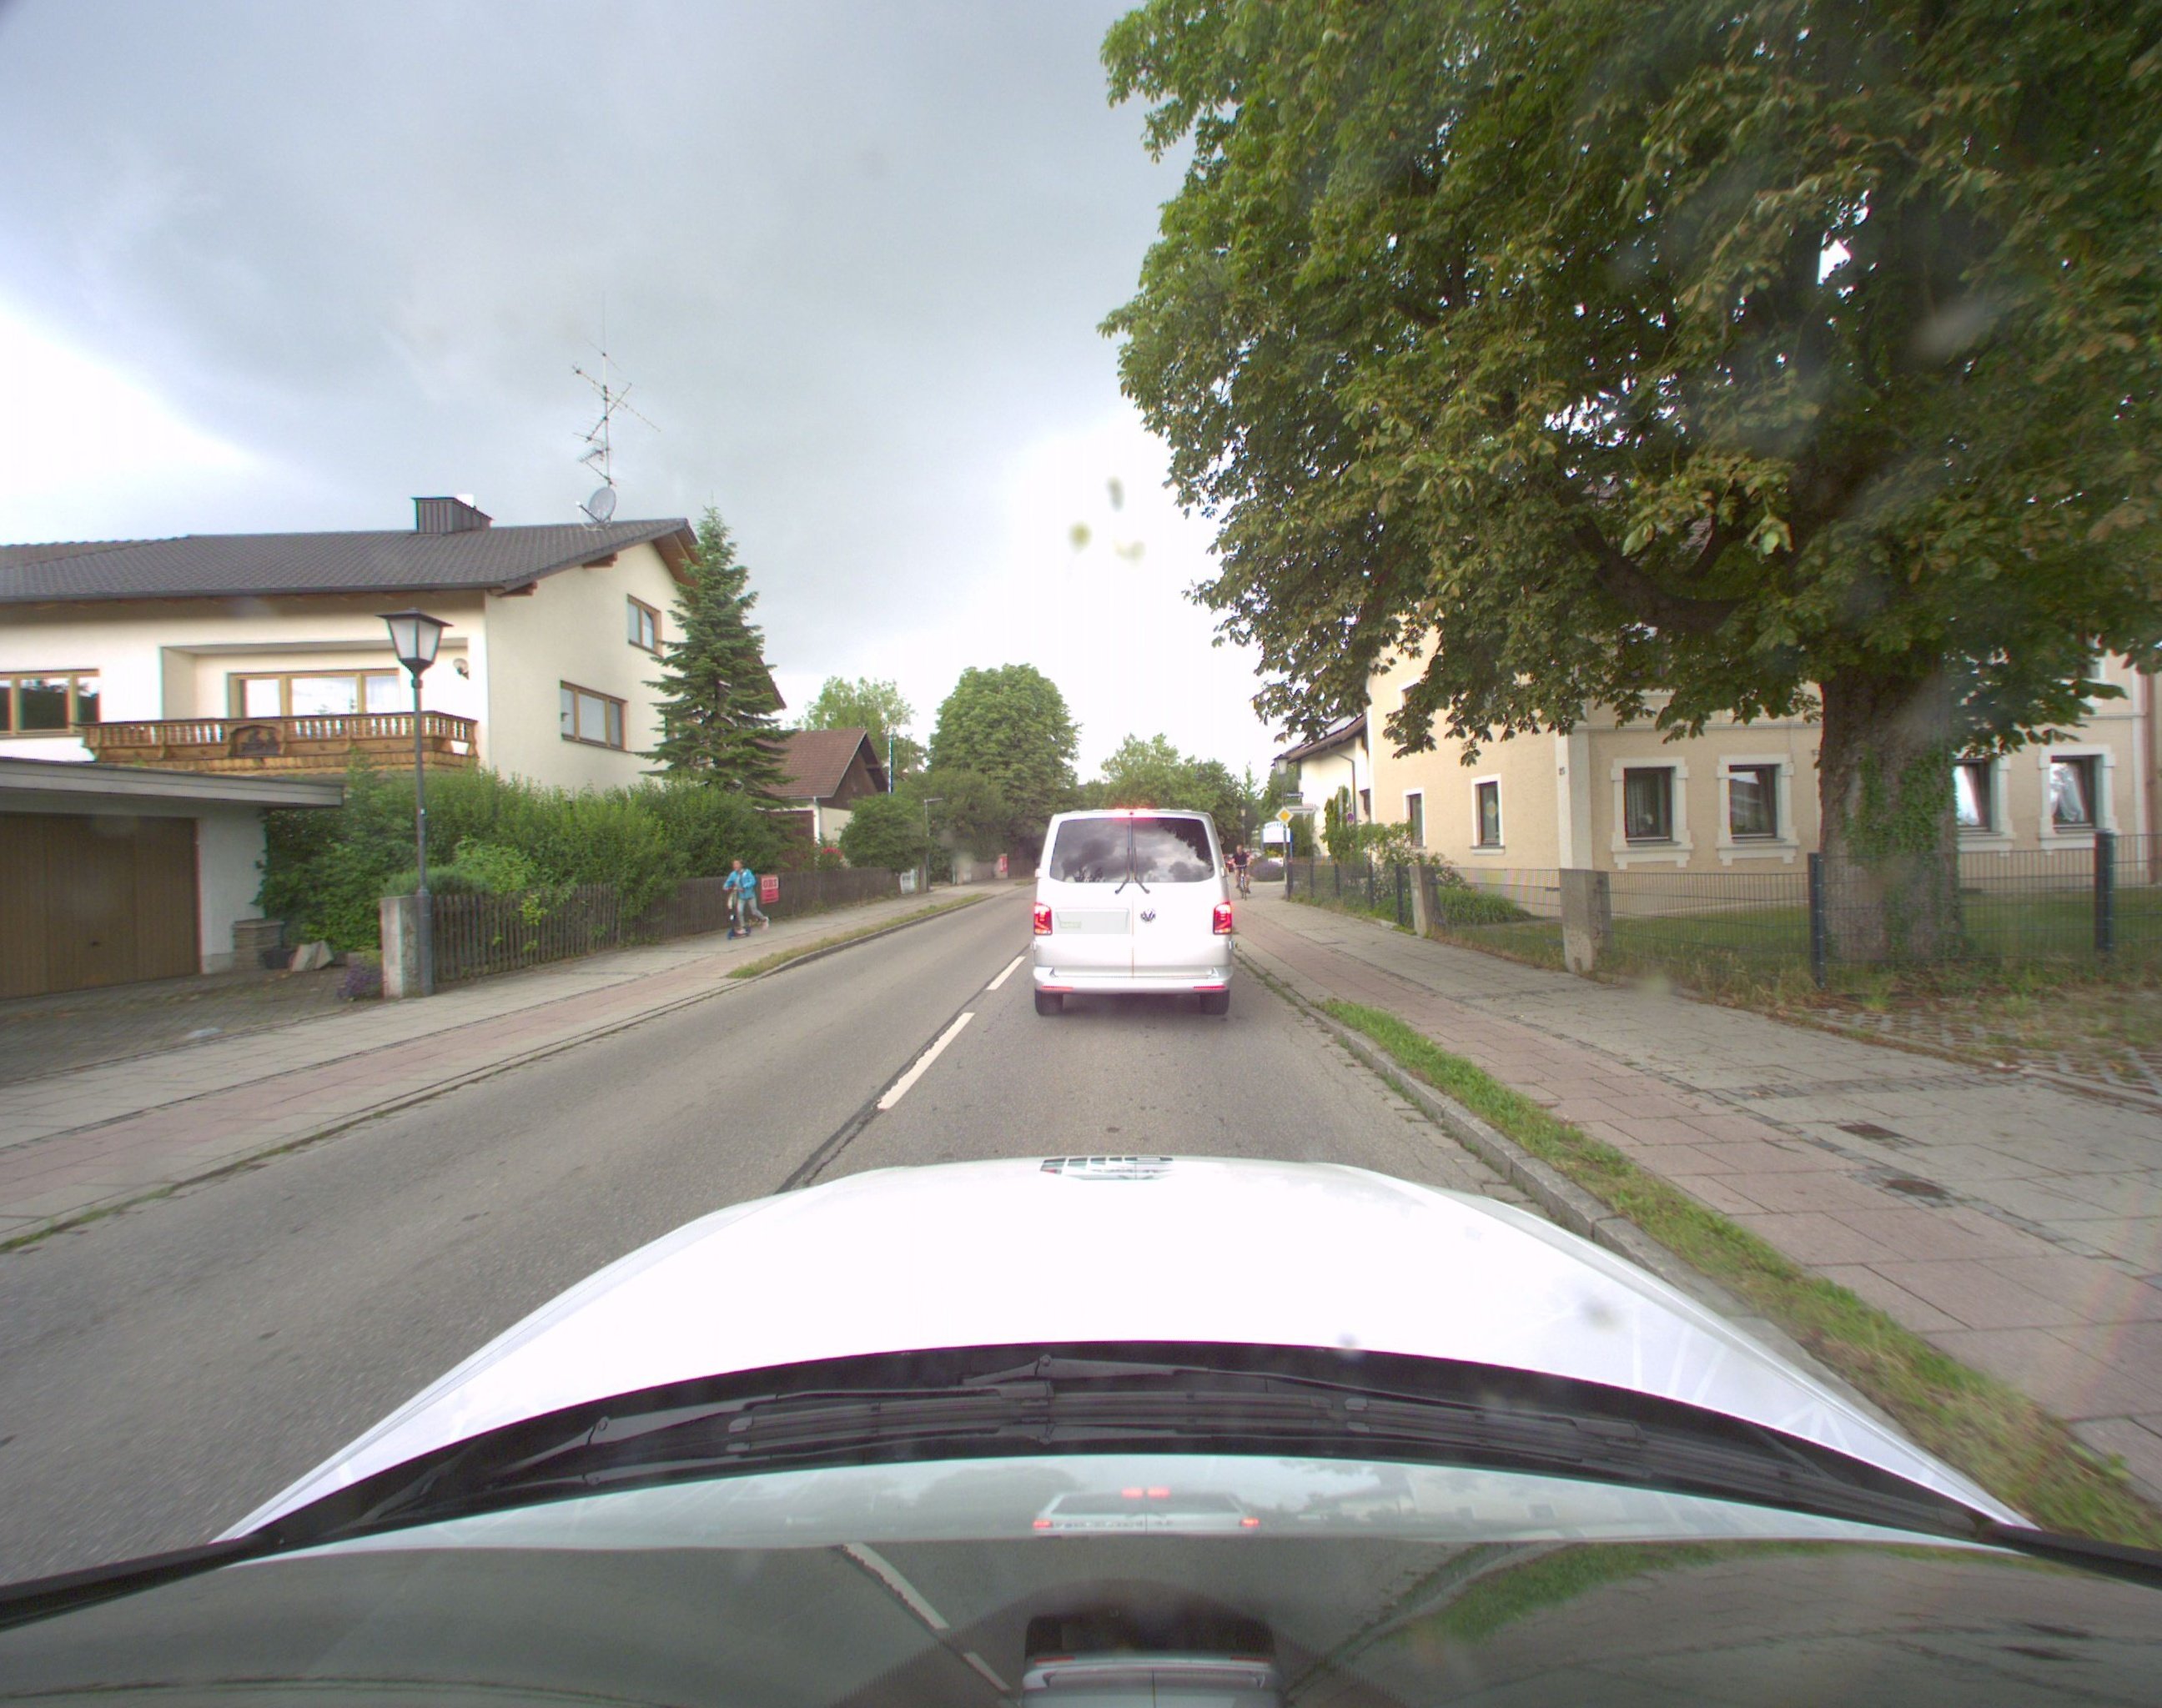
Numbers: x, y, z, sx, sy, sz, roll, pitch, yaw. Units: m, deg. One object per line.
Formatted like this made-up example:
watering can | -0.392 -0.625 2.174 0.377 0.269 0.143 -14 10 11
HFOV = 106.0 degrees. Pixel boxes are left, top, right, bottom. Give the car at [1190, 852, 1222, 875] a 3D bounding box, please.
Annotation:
car | 8.905 0.663 57.885 1.868 1.535 3.936 -1 0 14

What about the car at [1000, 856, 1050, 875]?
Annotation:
car | -4.584 0.926 66.031 3.982 1.486 1.996 -1 0 -6

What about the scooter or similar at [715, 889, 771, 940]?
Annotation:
scooter or similar | -6.220 1.101 15.028 0.519 0.850 1.062 -1 0 3

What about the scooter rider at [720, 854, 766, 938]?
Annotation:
scooter rider | -6.223 0.754 15.006 0.500 1.489 0.717 -1 0 2

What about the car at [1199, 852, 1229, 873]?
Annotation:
car | 10.470 0.668 63.859 1.867 1.535 3.937 -1 0 16

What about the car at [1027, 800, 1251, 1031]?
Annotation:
car | 0.597 0.534 8.947 1.873 1.940 3.923 -1 0 3

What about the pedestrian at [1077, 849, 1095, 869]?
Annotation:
pedestrian | 0.464 0.497 75.717 1.056 1.803 1.331 -1 0 42

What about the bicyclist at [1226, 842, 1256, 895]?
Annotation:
bicyclist | 5.148 0.465 26.196 0.733 1.632 0.891 -3 0 3

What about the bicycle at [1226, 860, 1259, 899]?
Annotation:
bicycle | 5.174 0.799 26.201 0.761 1.143 1.847 -4 0 4
